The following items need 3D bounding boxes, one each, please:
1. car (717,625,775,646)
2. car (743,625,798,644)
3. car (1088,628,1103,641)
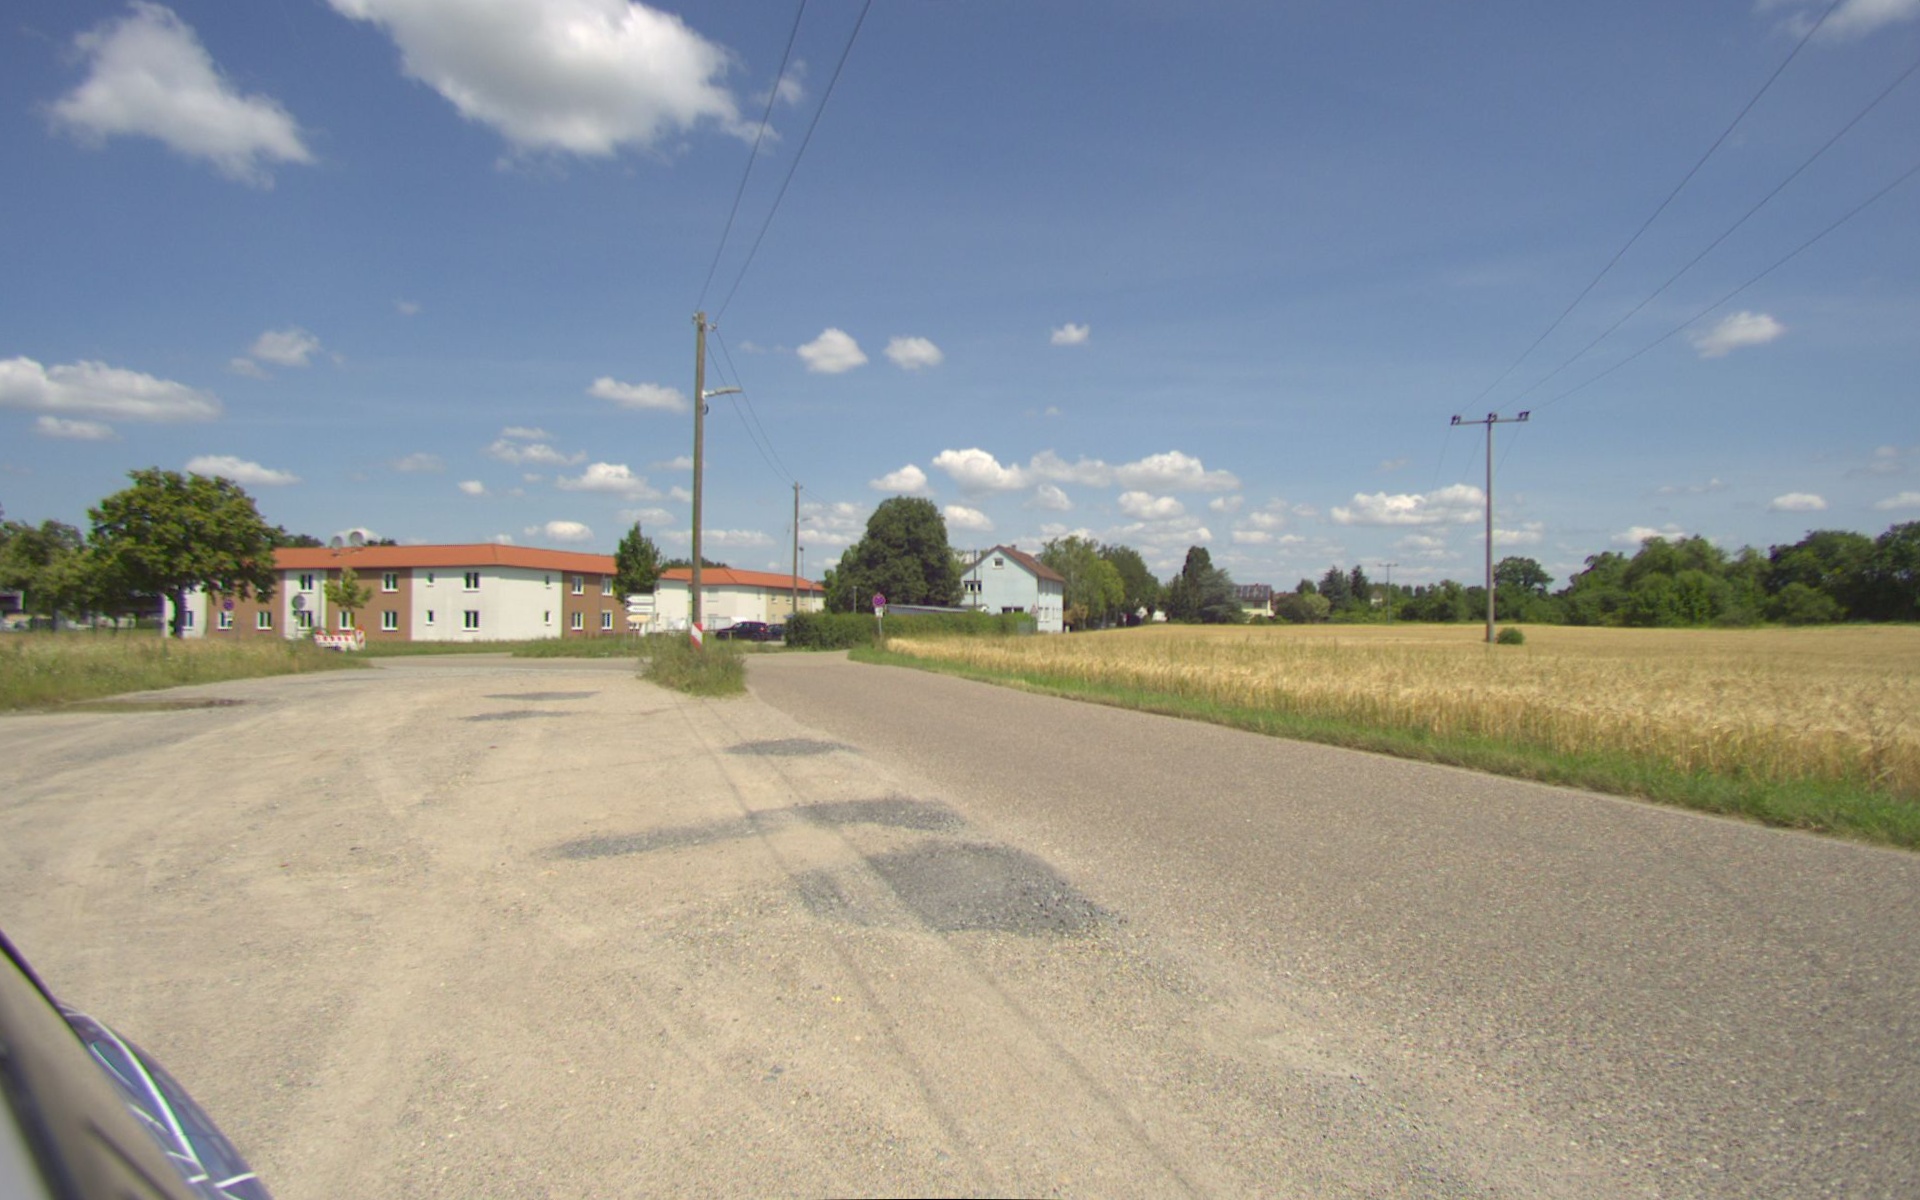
[{"bbox_3d":[-17.156,2.830,81.101,4.109,1.627,1.990,0,-2,15],"label":"car"},{"bbox_3d":[-15.881,2.880,84.809,4.109,1.627,1.990,0,-2,15],"label":"car"},{"bbox_3d":[19.279,4.895,143.870,1.731,1.692,4.239,-1,-1,12],"label":"car"}]
